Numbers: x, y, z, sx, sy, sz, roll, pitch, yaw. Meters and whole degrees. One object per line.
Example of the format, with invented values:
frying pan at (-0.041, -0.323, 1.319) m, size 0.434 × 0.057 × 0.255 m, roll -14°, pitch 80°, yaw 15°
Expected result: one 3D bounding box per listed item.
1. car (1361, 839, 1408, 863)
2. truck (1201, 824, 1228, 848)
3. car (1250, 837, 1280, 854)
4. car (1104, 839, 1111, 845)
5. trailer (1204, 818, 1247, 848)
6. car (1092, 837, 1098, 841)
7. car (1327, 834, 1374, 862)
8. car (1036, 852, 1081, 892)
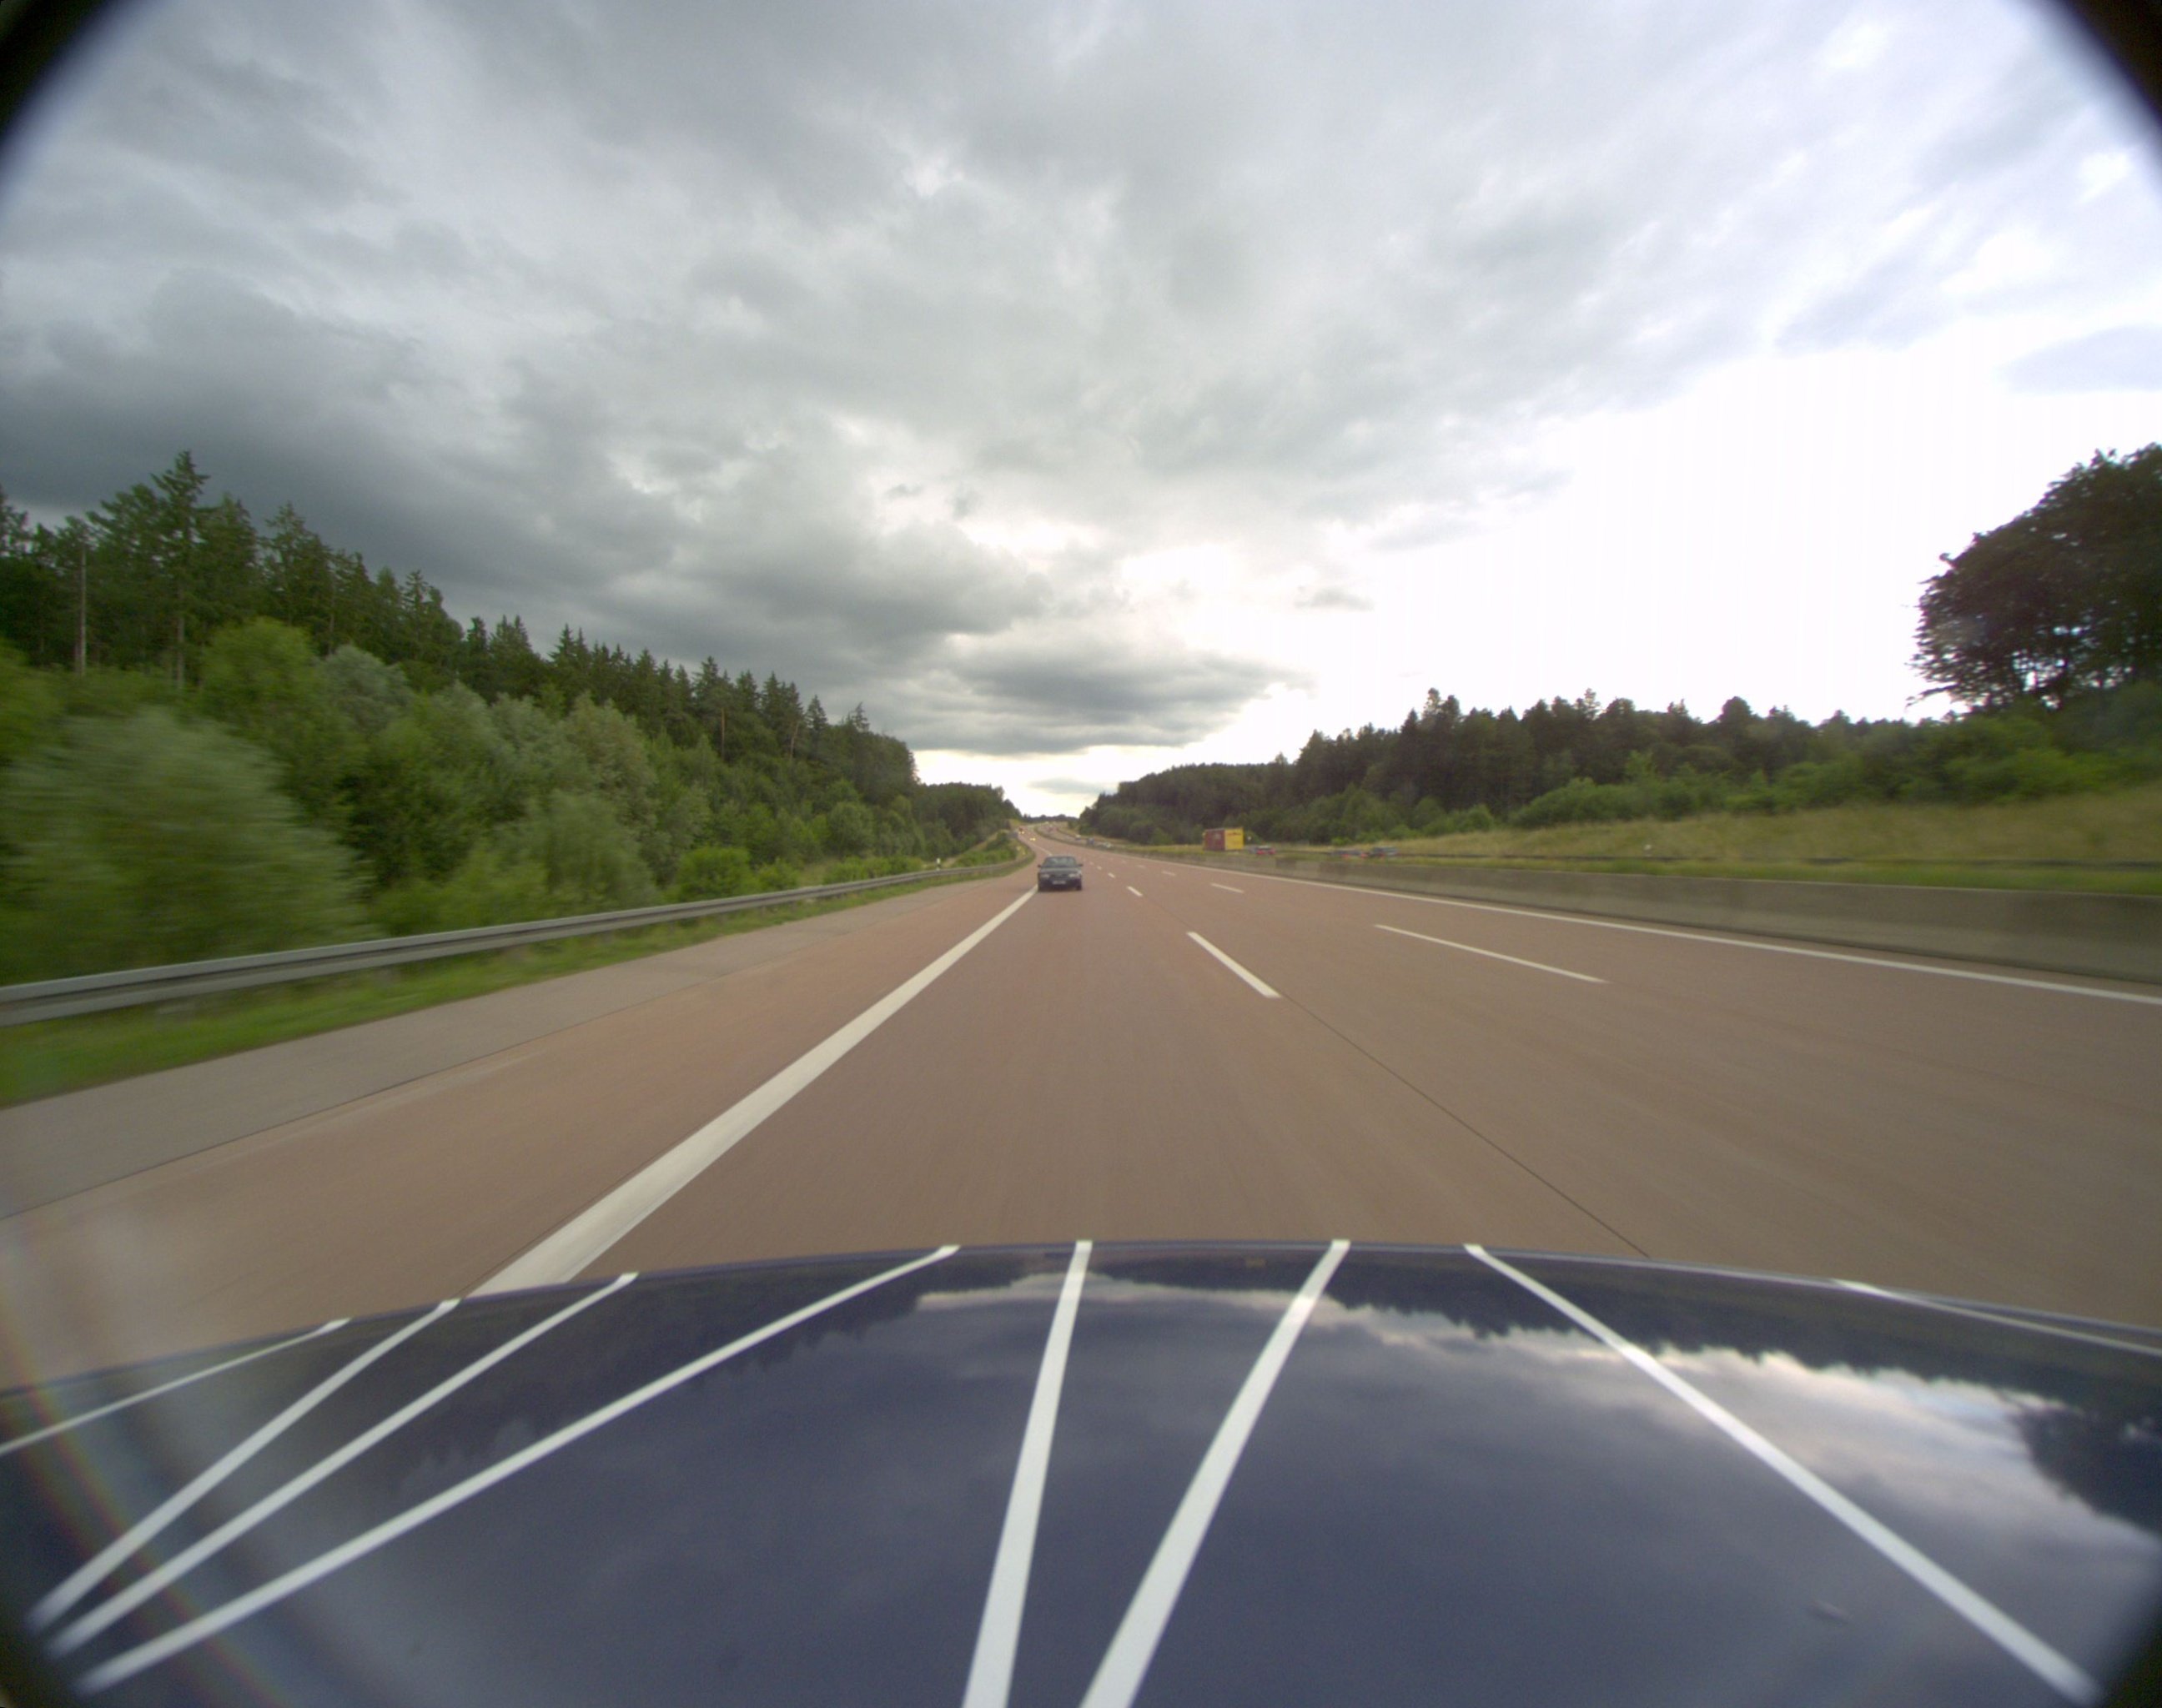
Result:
car at (22.506, -0.200, 56.504) m, size 1.767 × 1.628 × 4.381 m, roll -2°, pitch 0°, yaw 0°
truck at (21.217, -2.847, 121.060) m, size 3.020 × 3.562 × 6.055 m, roll -2°, pitch 1°, yaw -1°
car at (18.484, -0.880, 76.558) m, size 1.767 × 1.629 × 4.378 m, roll -2°, pitch 2°, yaw -2°
car at (7.300, -3.371, 211.123) m, size 1.571 × 1.558 × 3.410 m, roll -2°, pitch 2°, yaw -2°
trailer at (21.428, -3.002, 113.595) m, size 3.041 × 4.018 × 14.526 m, roll -2°, pitch 1°, yaw -2°
car at (4.708, -4.870, 250.747) m, size 1.529 × 1.395 × 3.552 m, roll -1°, pitch 1°, yaw -4°
car at (18.208, -0.398, 51.551) m, size 1.811 × 1.805 × 3.999 m, roll -1°, pitch 1°, yaw 1°
car at (-0.869, 0.691, 31.102) m, size 1.676 × 1.395 × 4.231 m, roll -1°, pitch 2°, yaw -1°
